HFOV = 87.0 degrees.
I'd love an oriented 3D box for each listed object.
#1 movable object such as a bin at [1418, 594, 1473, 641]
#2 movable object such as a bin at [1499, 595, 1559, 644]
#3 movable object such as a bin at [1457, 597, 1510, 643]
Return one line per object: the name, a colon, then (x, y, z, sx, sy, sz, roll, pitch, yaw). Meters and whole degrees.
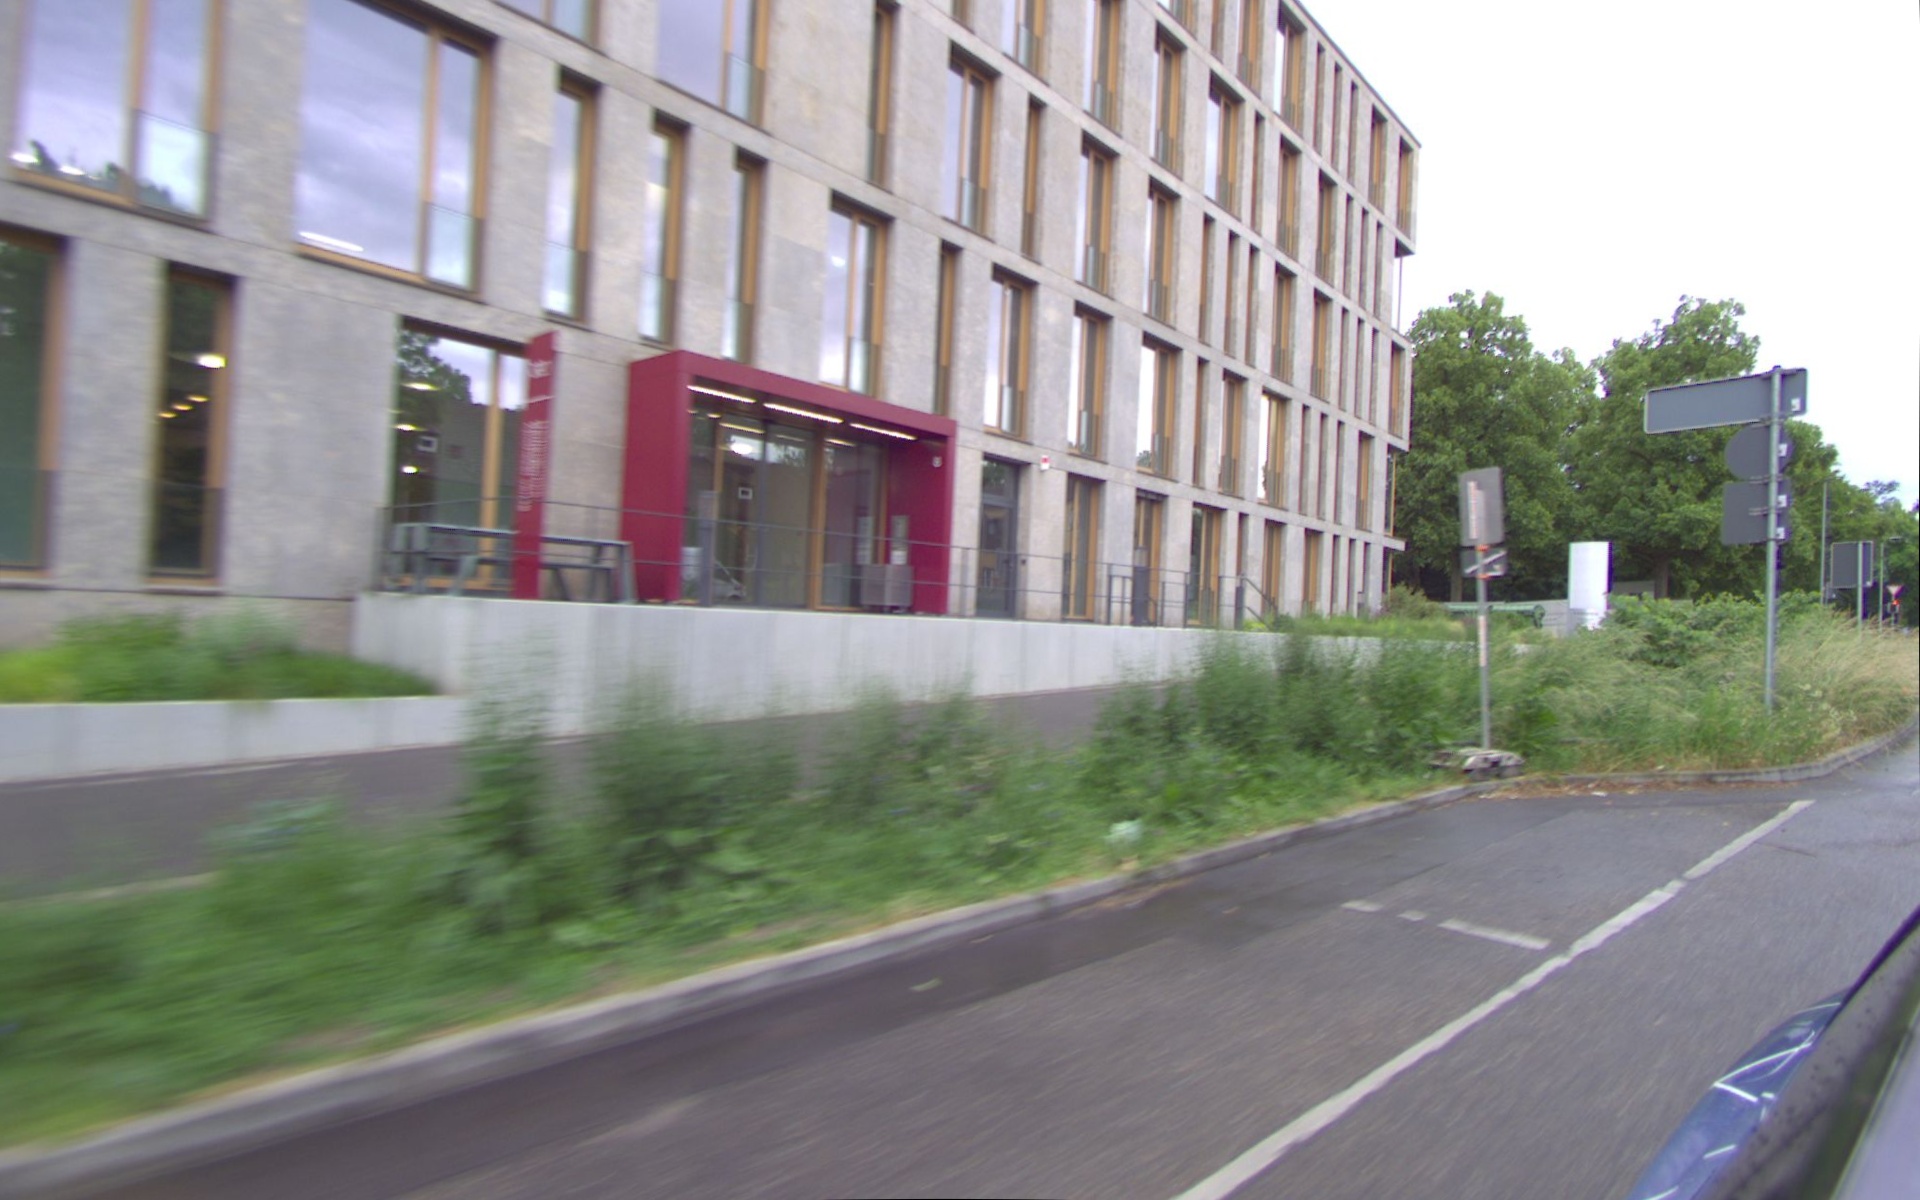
movable object such as a bin: (16.187, 0.568, 33.734, 1.363, 1.523, 1.198, 0, 0, -40)
movable object such as a bin: (17.836, 0.618, 31.739, 1.090, 1.477, 1.249, 0, -3, -38)
movable object such as a bin: (16.903, 0.643, 32.663, 1.129, 1.418, 1.100, 0, -3, -38)
